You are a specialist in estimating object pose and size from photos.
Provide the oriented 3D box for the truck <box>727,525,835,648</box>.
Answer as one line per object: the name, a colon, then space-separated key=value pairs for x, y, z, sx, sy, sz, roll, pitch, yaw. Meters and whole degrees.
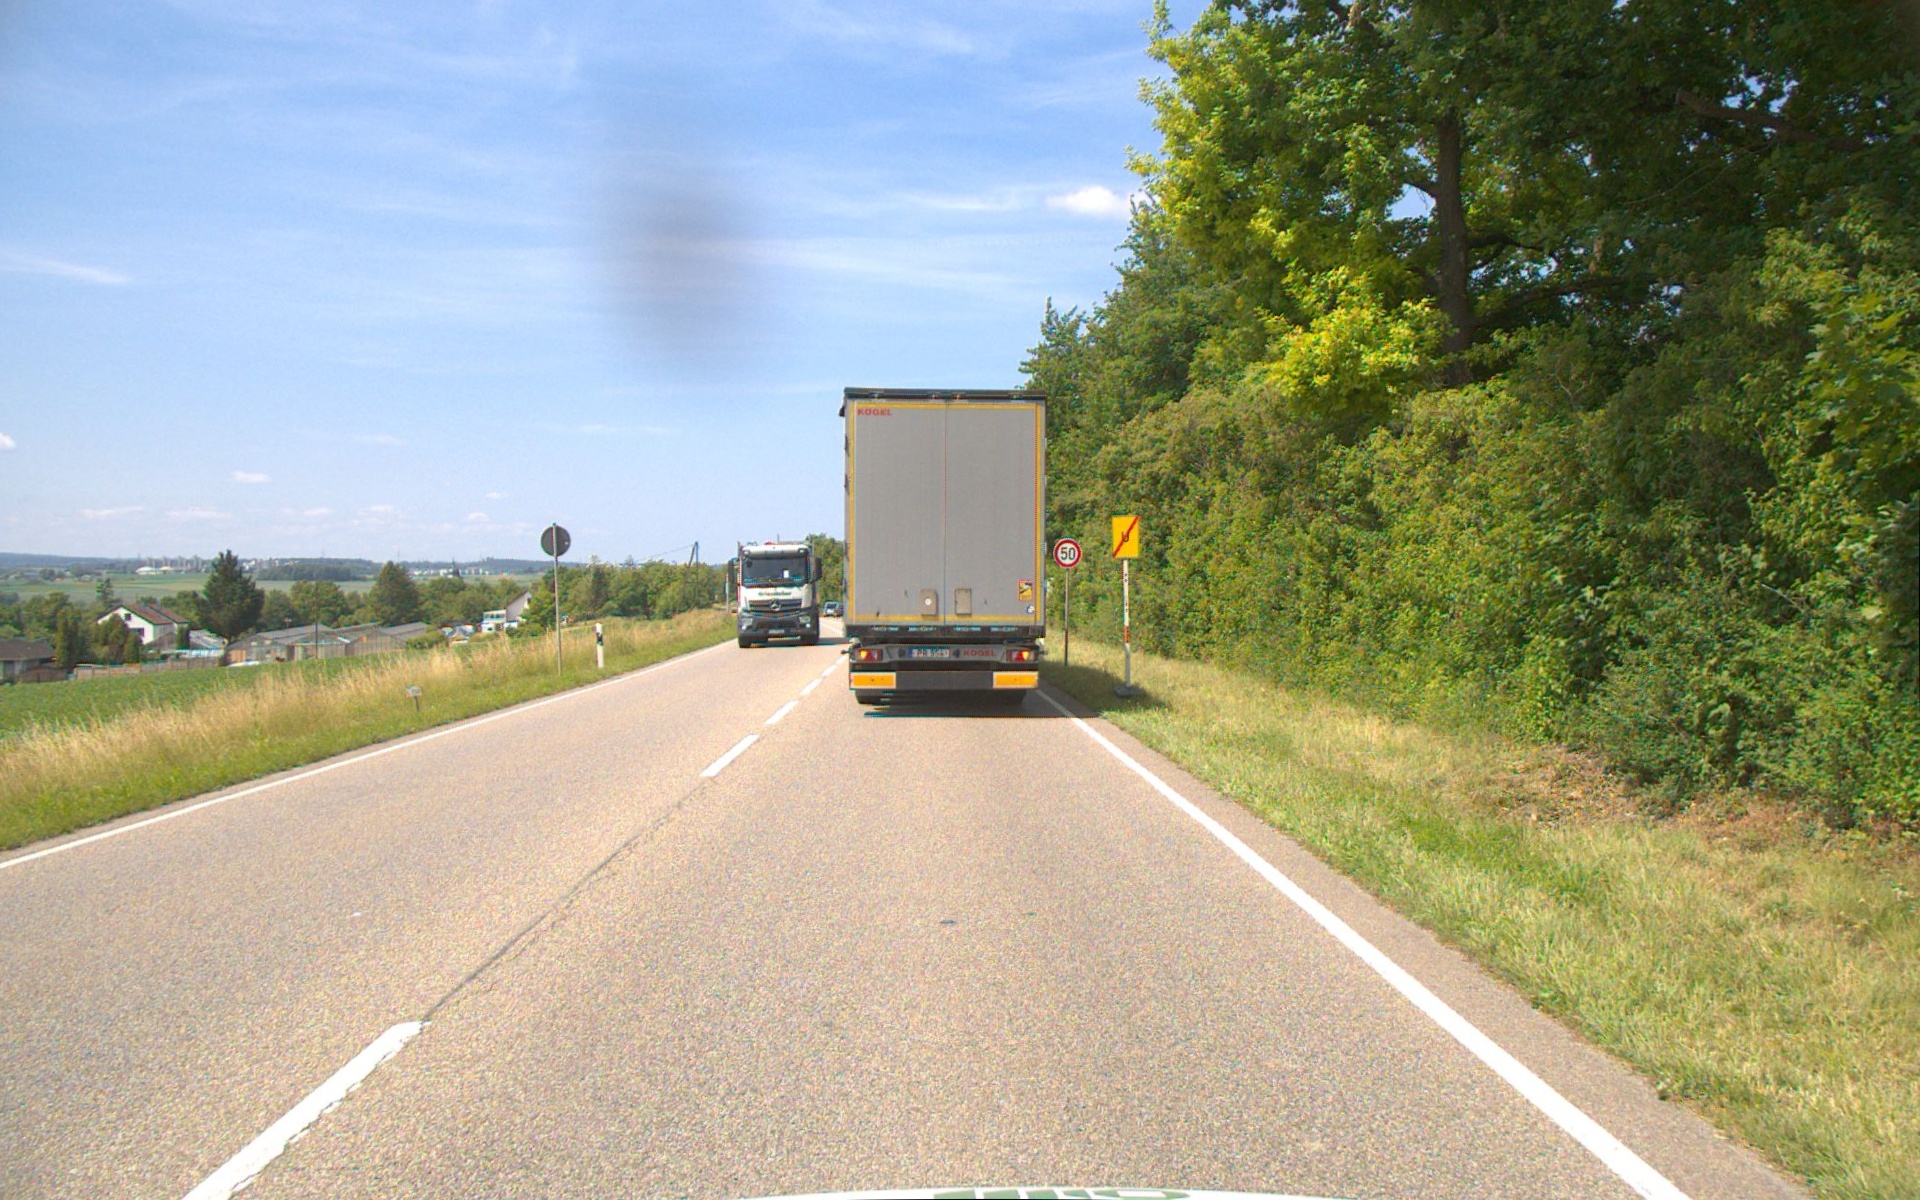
truck: x=-5.927 y=-0.411 z=56.428 sx=2.701 sy=3.638 sz=11.060 roll=-3 pitch=0 yaw=-2

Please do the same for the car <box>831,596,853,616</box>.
car: x=-12.665 y=0.668 z=176.766 sx=2.129 sy=2.049 sz=4.520 roll=-3 pitch=0 yaw=-6

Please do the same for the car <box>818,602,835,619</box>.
car: x=-15.556 y=1.196 z=192.509 sx=1.856 sy=1.808 sz=4.381 roll=-3 pitch=0 yaw=-6

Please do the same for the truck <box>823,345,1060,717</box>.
truck: x=-0.509 y=-0.842 z=24.492 sx=2.850 sy=4.487 sz=8.853 roll=0 pitch=0 yaw=-4
